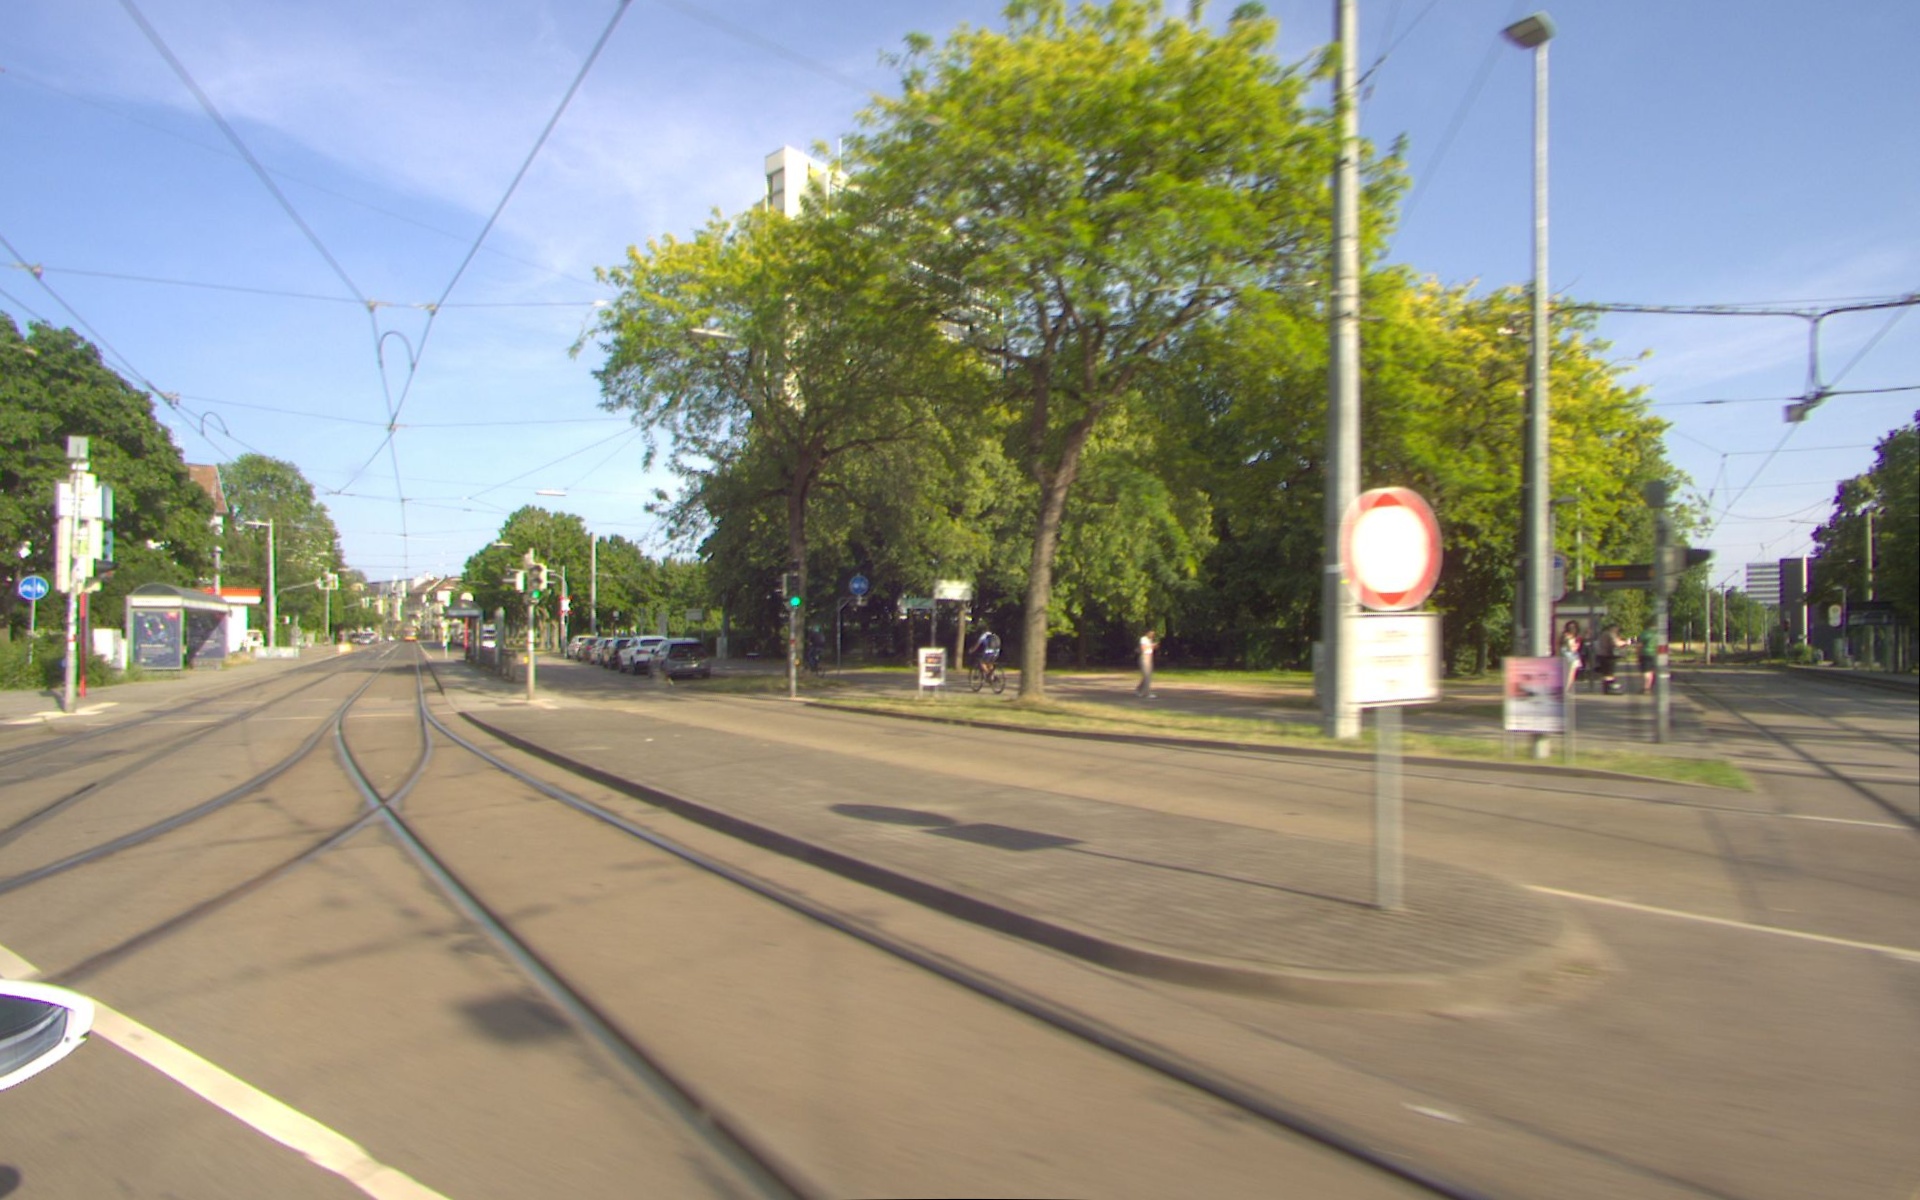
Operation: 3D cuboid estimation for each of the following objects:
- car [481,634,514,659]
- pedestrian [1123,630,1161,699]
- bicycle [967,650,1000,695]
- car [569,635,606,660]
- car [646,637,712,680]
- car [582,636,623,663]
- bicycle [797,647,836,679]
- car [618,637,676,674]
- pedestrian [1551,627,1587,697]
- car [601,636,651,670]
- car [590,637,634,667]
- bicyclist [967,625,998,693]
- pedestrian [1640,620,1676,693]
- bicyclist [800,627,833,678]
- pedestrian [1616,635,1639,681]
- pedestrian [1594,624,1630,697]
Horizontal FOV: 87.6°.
[{"bbox_3d":[-31.859,3.198,68.954,1.815,1.619,3.799,3,-4,-28],"label":"car"},{"bbox_3d":[4.533,1.595,24.947,0.636,1.686,0.685,2,-2,-39],"label":"pedestrian"},{"bbox_3d":[0.658,1.945,27.267,0.630,1.102,1.939,-1,0,9],"label":"bicycle"},{"bbox_3d":[-23.840,3.000,64.051,1.831,1.534,3.986,0,-2,-26],"label":"car"},{"bbox_3d":[-10.883,2.216,38.610,1.830,1.534,3.987,0,-2,-25],"label":"car"},{"bbox_3d":[-20.973,2.877,58.641,1.831,1.534,3.986,0,-2,-26],"label":"car"},{"bbox_3d":[-5.231,2.286,36.443,0.635,1.102,1.721,-1,0,-37],"label":"bicycle"},{"bbox_3d":[-13.650,2.368,43.558,1.831,1.534,3.986,0,-2,-26],"label":"car"},{"bbox_3d":[14.550,1.480,23.917,0.681,1.631,0.639,-1,-2,35],"label":"pedestrian"},{"bbox_3d":[-16.350,2.553,48.880,1.831,1.534,3.986,0,-2,-26],"label":"car"},{"bbox_3d":[-19.051,2.791,54.711,1.831,1.534,3.986,0,-2,-26],"label":"car"},{"bbox_3d":[0.614,1.568,27.080,0.638,1.769,1.139,-1,0,9],"label":"bicyclist"},{"bbox_3d":[16.417,1.313,23.562,0.681,1.686,0.639,-1,-2,35],"label":"pedestrian"},{"bbox_3d":[-5.233,1.897,36.496,0.713,1.769,1.131,-2,1,-38],"label":"bicyclist"},{"bbox_3d":[26.721,2.330,40.102,0.666,1.822,0.605,5,-5,-41],"label":"pedestrian"},{"bbox_3d":[15.397,1.411,23.643,0.681,1.686,0.639,-1,-2,35],"label":"pedestrian"}]
